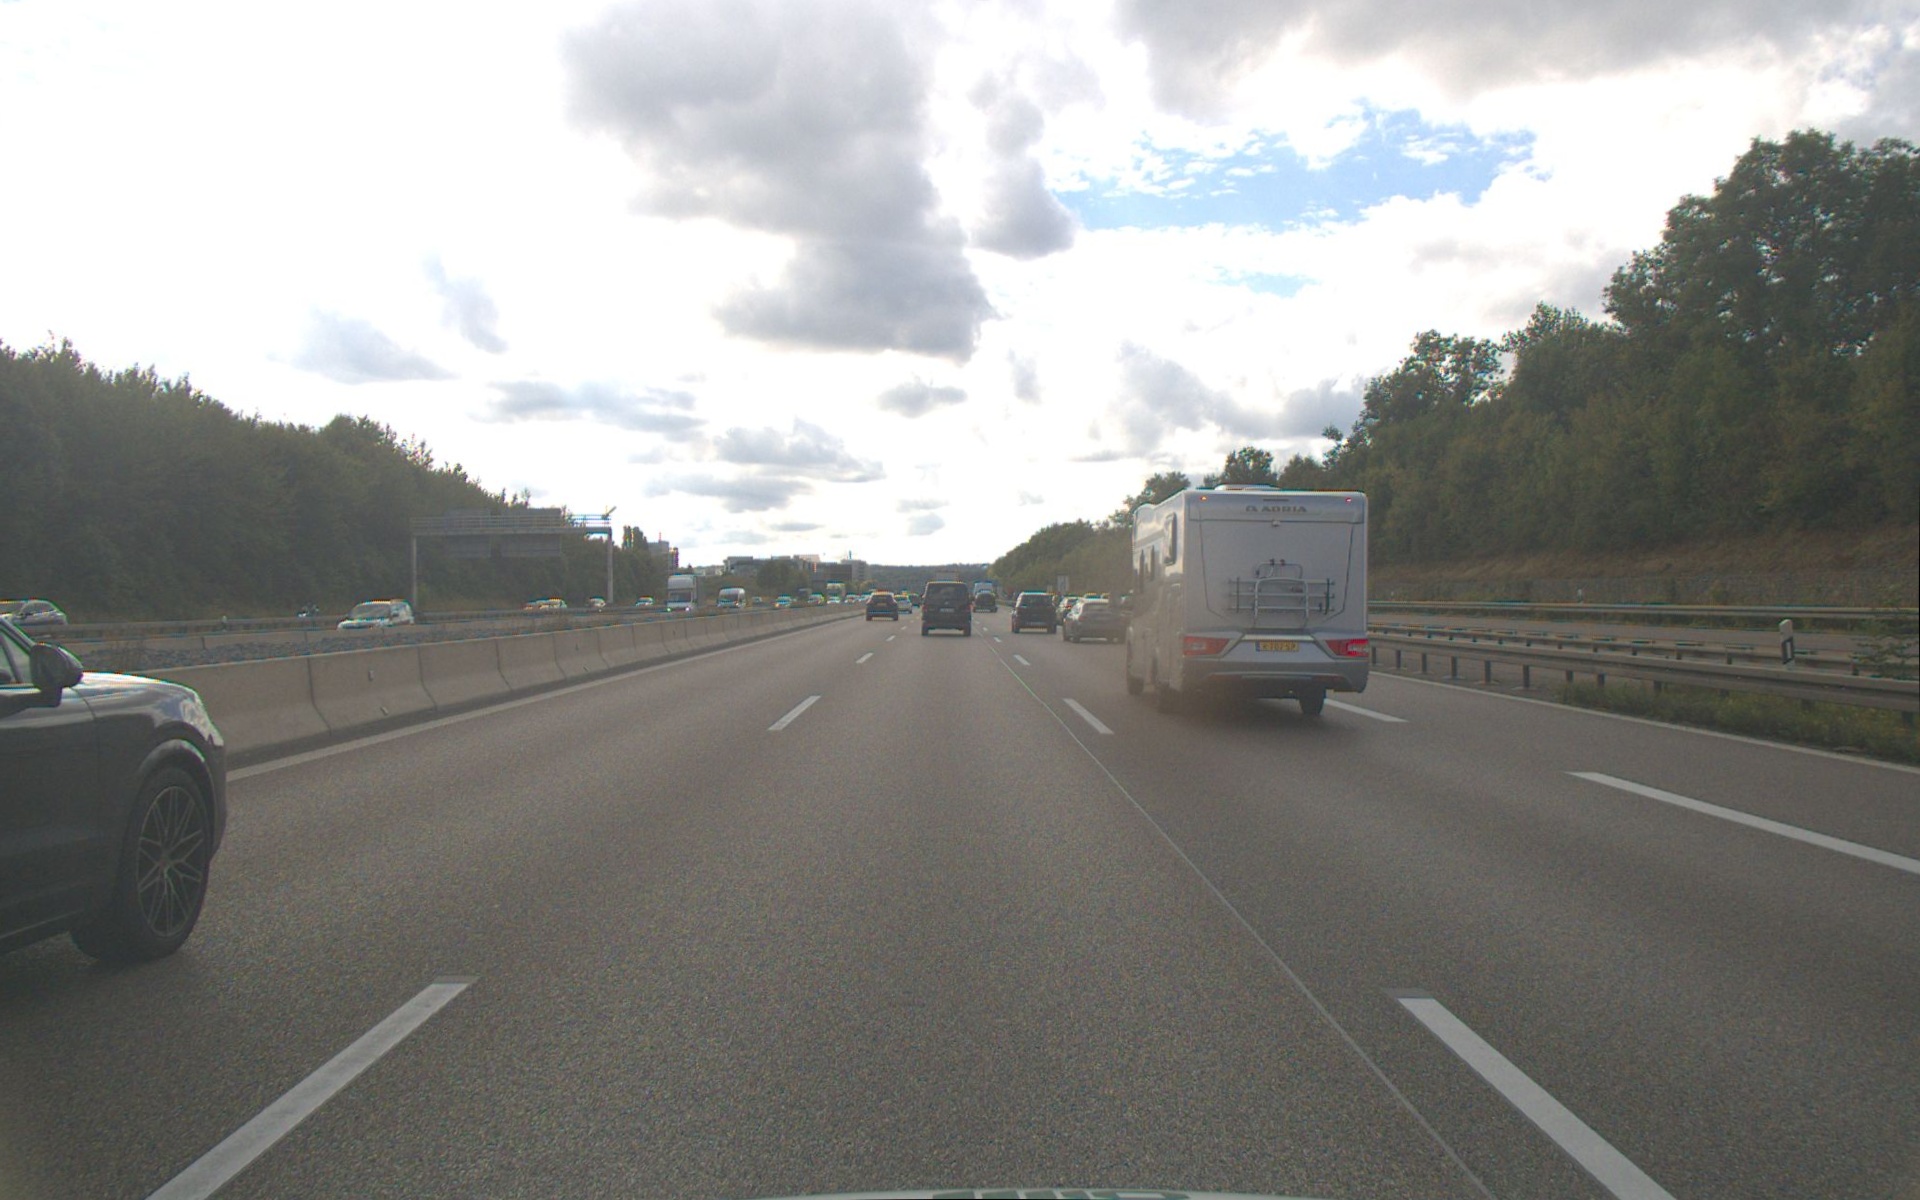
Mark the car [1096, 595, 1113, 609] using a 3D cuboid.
[{"bbox_3d":[17.681,0.209,202.211,1.716,1.725,4.189,0,0,-1],"label":"car"}]

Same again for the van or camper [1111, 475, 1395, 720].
[{"bbox_3d":[3.702,-0.043,22.754,2.418,2.769,7.660,1,0,-1],"label":"van or camper"}]

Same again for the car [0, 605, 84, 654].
[{"bbox_3d":[-33.707,1.031,59.393,1.953,1.620,4.767,-1,0,0],"label":"car"}]

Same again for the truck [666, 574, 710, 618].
[{"bbox_3d":[-21.079,-0.320,128.496,2.305,3.321,7.824,-1,0,-1],"label":"truck"}]

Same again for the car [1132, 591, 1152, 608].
[{"bbox_3d":[19.144,-0.033,174.171,1.563,1.835,3.823,0,0,-2],"label":"car"}]

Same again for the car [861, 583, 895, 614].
[{"bbox_3d":[-4.709,-0.075,95.219,1.835,1.728,4.071,0,0,-1],"label":"car"}]

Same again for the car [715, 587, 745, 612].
[{"bbox_3d":[-21.786,-0.060,156.931,2.120,2.311,6.459,-1,0,-1],"label":"car"}]

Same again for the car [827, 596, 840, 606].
[{"bbox_3d":[-18.345,0.149,239.954,1.532,1.389,4.050,-1,0,-1],"label":"car"}]

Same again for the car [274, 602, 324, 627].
[{"bbox_3d":[-41.779,0.902,104.595,1.559,1.520,4.179,-1,0,-2],"label":"car"}]

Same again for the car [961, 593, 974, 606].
[{"bbox_3d":[0.963,-0.066,213.675,1.716,1.725,4.189,0,0,-1],"label":"car"}]

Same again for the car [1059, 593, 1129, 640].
[{"bbox_3d":[4.444,0.515,55.381,1.687,1.505,4.387,0,0,-4],"label":"car"}]

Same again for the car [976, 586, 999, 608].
[{"bbox_3d":[2.456,-0.289,148.689,1.874,1.952,4.029,0,0,-1],"label":"car"}]

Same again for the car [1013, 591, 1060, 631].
[{"bbox_3d":[3.112,0.453,68.182,1.663,1.592,4.113,0,0,-1],"label":"car"}]

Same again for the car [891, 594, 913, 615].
[{"bbox_3d":[-4.675,0.378,133.450,1.663,1.639,4.113,0,0,-1],"label":"car"}]

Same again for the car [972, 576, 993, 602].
[{"bbox_3d":[2.111,-1.058,154.431,1.835,2.399,4.281,0,0,-1],"label":"car"}]

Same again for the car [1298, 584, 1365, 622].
[{"bbox_3d":[16.150,0.111,72.116,1.806,1.510,4.525,-2,0,-1],"label":"car"}]

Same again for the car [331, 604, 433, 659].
[{"bbox_3d":[-20.612,1.068,59.241,1.797,1.817,5.502,-1,0,-1],"label":"car"}]

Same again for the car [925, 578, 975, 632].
[{"bbox_3d":[-0.406,0.176,62.153,1.817,1.944,4.259,0,0,-1],"label":"car"}]

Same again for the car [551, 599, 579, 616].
[{"bbox_3d":[-33.732,0.650,141.295,1.532,1.389,4.050,0,0,-1],"label":"car"}]

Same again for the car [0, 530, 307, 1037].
[{"bbox_3d":[-4.088,0.602,5.303,1.873,1.664,5.499,0,0,-1],"label":"car"}]

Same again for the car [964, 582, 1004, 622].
[{"bbox_3d":[1.056,0.090,74.717,1.686,1.754,4.390,0,0,-1],"label":"car"}]

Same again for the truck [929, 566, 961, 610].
[{"bbox_3d":[-1.628,-1.260,175.311,3.196,4.451,11.024,1,0,-1],"label":"truck"}]
